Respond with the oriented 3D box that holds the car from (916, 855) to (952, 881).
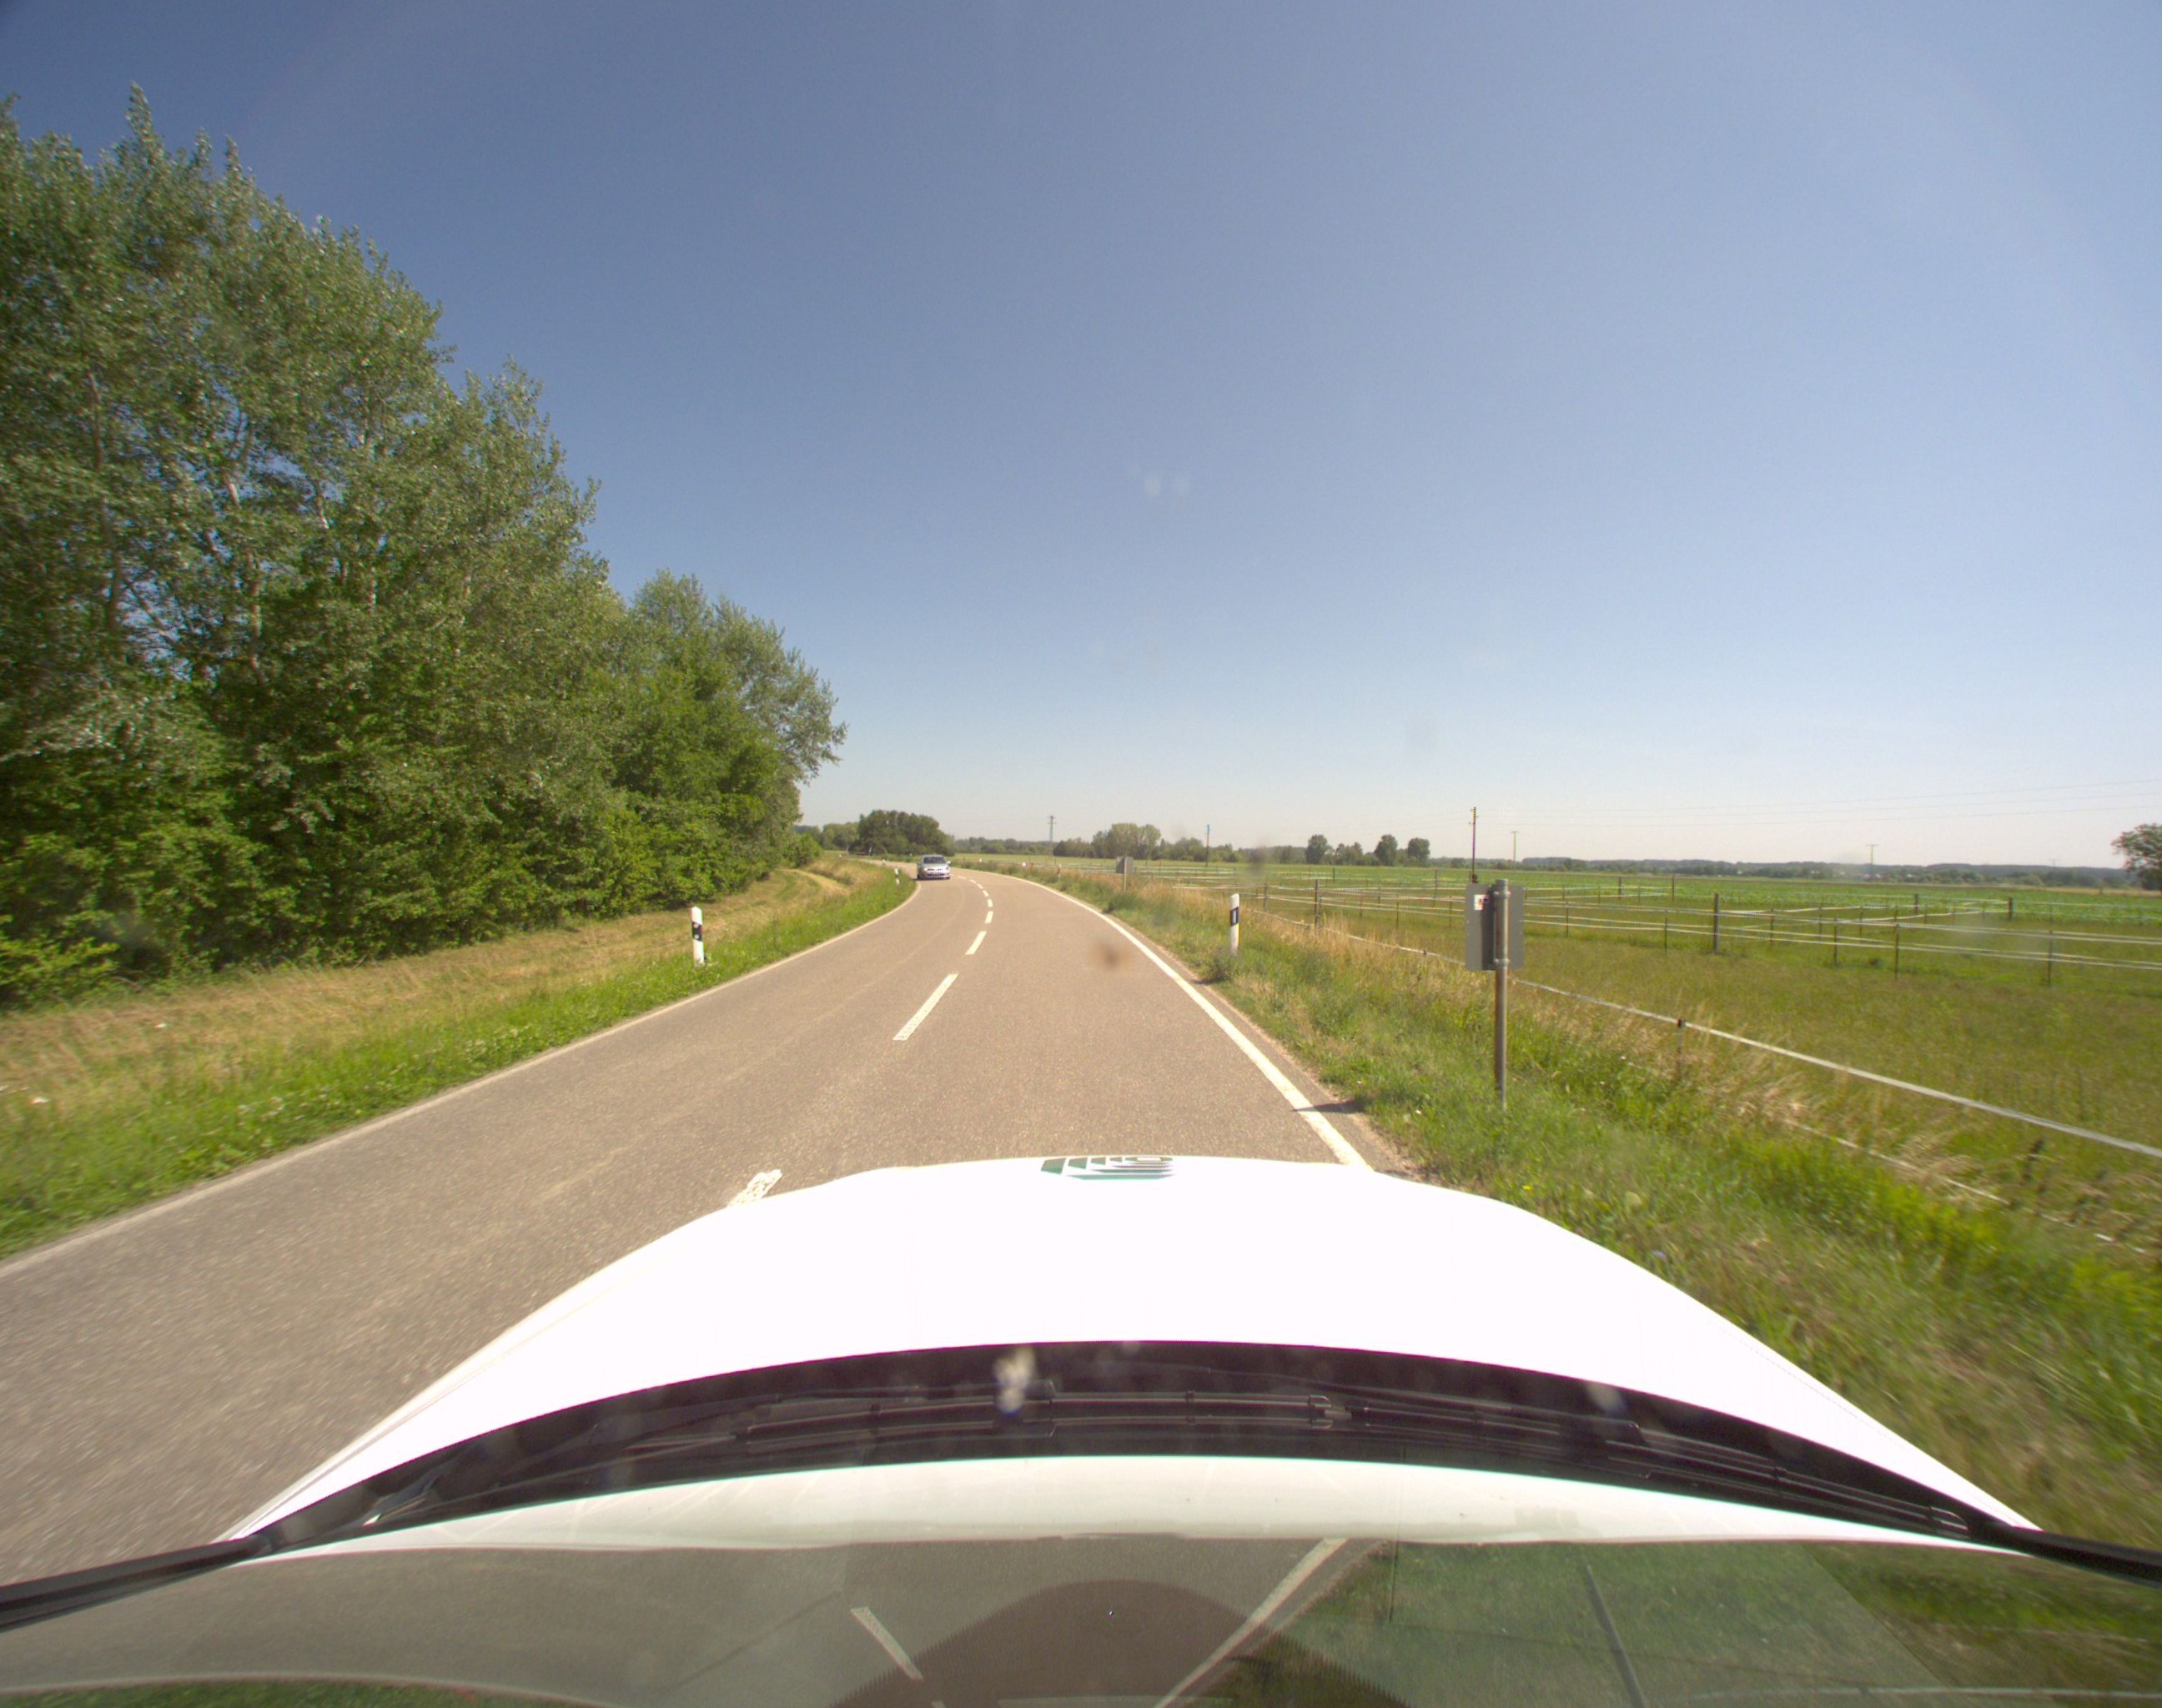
[{"bbox_3d":[-8.741,0.818,48.199,1.786,1.427,4.040,-2,0,-14],"label":"car"}]
